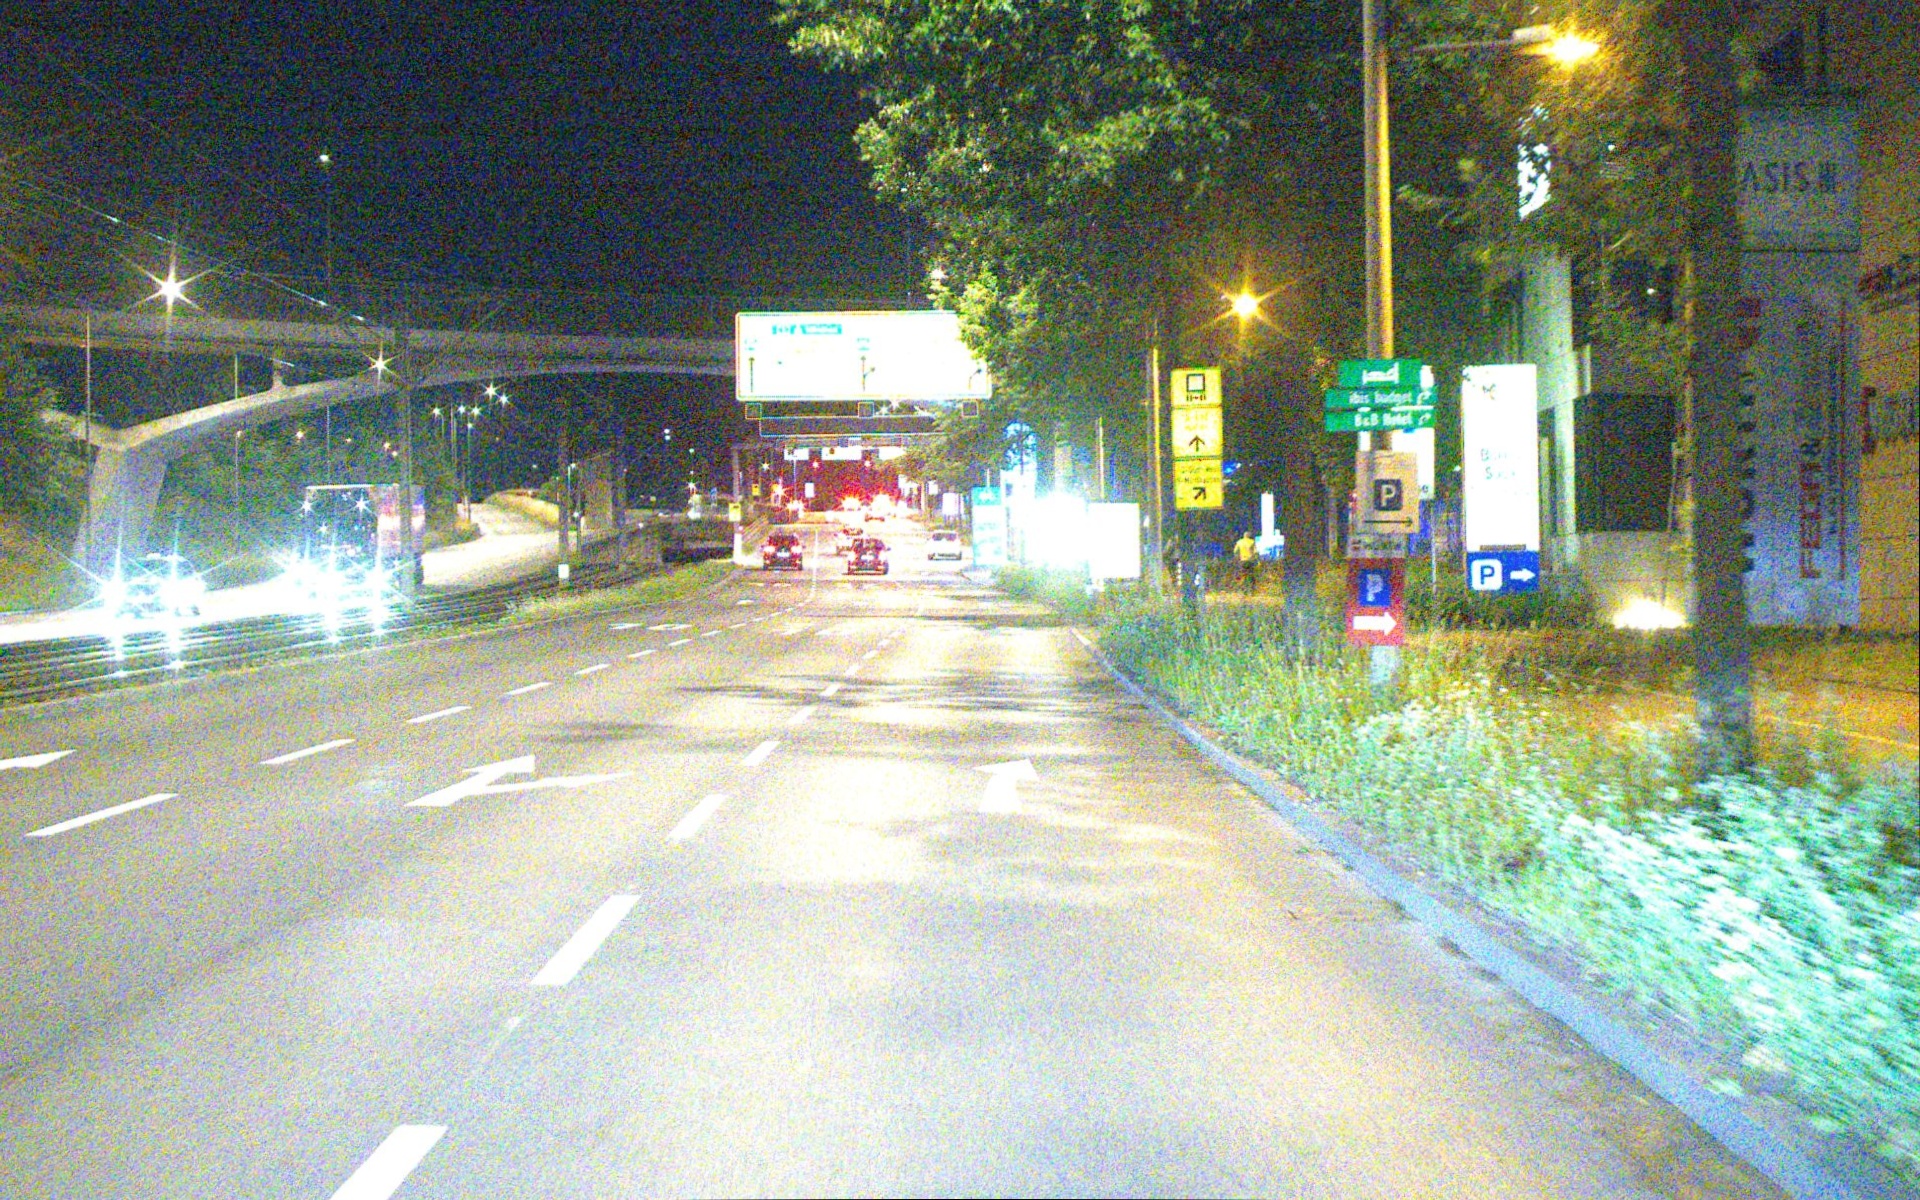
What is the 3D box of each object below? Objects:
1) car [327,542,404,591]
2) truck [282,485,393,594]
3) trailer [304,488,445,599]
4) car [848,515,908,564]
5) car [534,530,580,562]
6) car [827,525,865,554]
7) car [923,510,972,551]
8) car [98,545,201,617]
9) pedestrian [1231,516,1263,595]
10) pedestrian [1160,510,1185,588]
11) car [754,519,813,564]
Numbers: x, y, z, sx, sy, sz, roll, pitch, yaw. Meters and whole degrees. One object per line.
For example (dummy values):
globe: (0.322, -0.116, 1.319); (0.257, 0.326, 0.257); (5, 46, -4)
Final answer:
car: (-19.215, -1.099, 111.277); (1.911, 1.468, 3.772); (0, 2, -1)
truck: (-22.182, -2.185, 122.790); (3.041, 3.806, 4.935); (0, 2, 0)
trailer: (-22.184, -2.269, 131.151); (2.994, 3.986, 13.956); (0, 2, 0)
car: (-3.630, -2.703, 152.773); (2.356, 2.121, 4.826); (0, 2, 3)
car: (-19.392, -2.605, 165.447); (1.810, 1.468, 3.772); (0, 2, -1)
car: (-6.308, -3.362, 191.287); (1.993, 1.548, 4.000); (-1, 1, 0)
car: (-0.656, -3.746, 184.534); (2.427, 2.106, 4.826); (0, 2, 3)
car: (-21.040, -0.513, 89.356); (1.863, 1.744, 3.702); (0, 2, -1)
pedestrian: (7.468, -1.165, 89.534); (0.762, 2.056, 0.643); (0, 2, 0)
pedestrian: (6.638, -1.607, 107.641); (0.745, 2.426, 0.779); (1, 1, 2)
car: (-8.113, -2.711, 158.157); (2.263, 2.006, 4.826); (0, 2, 3)
